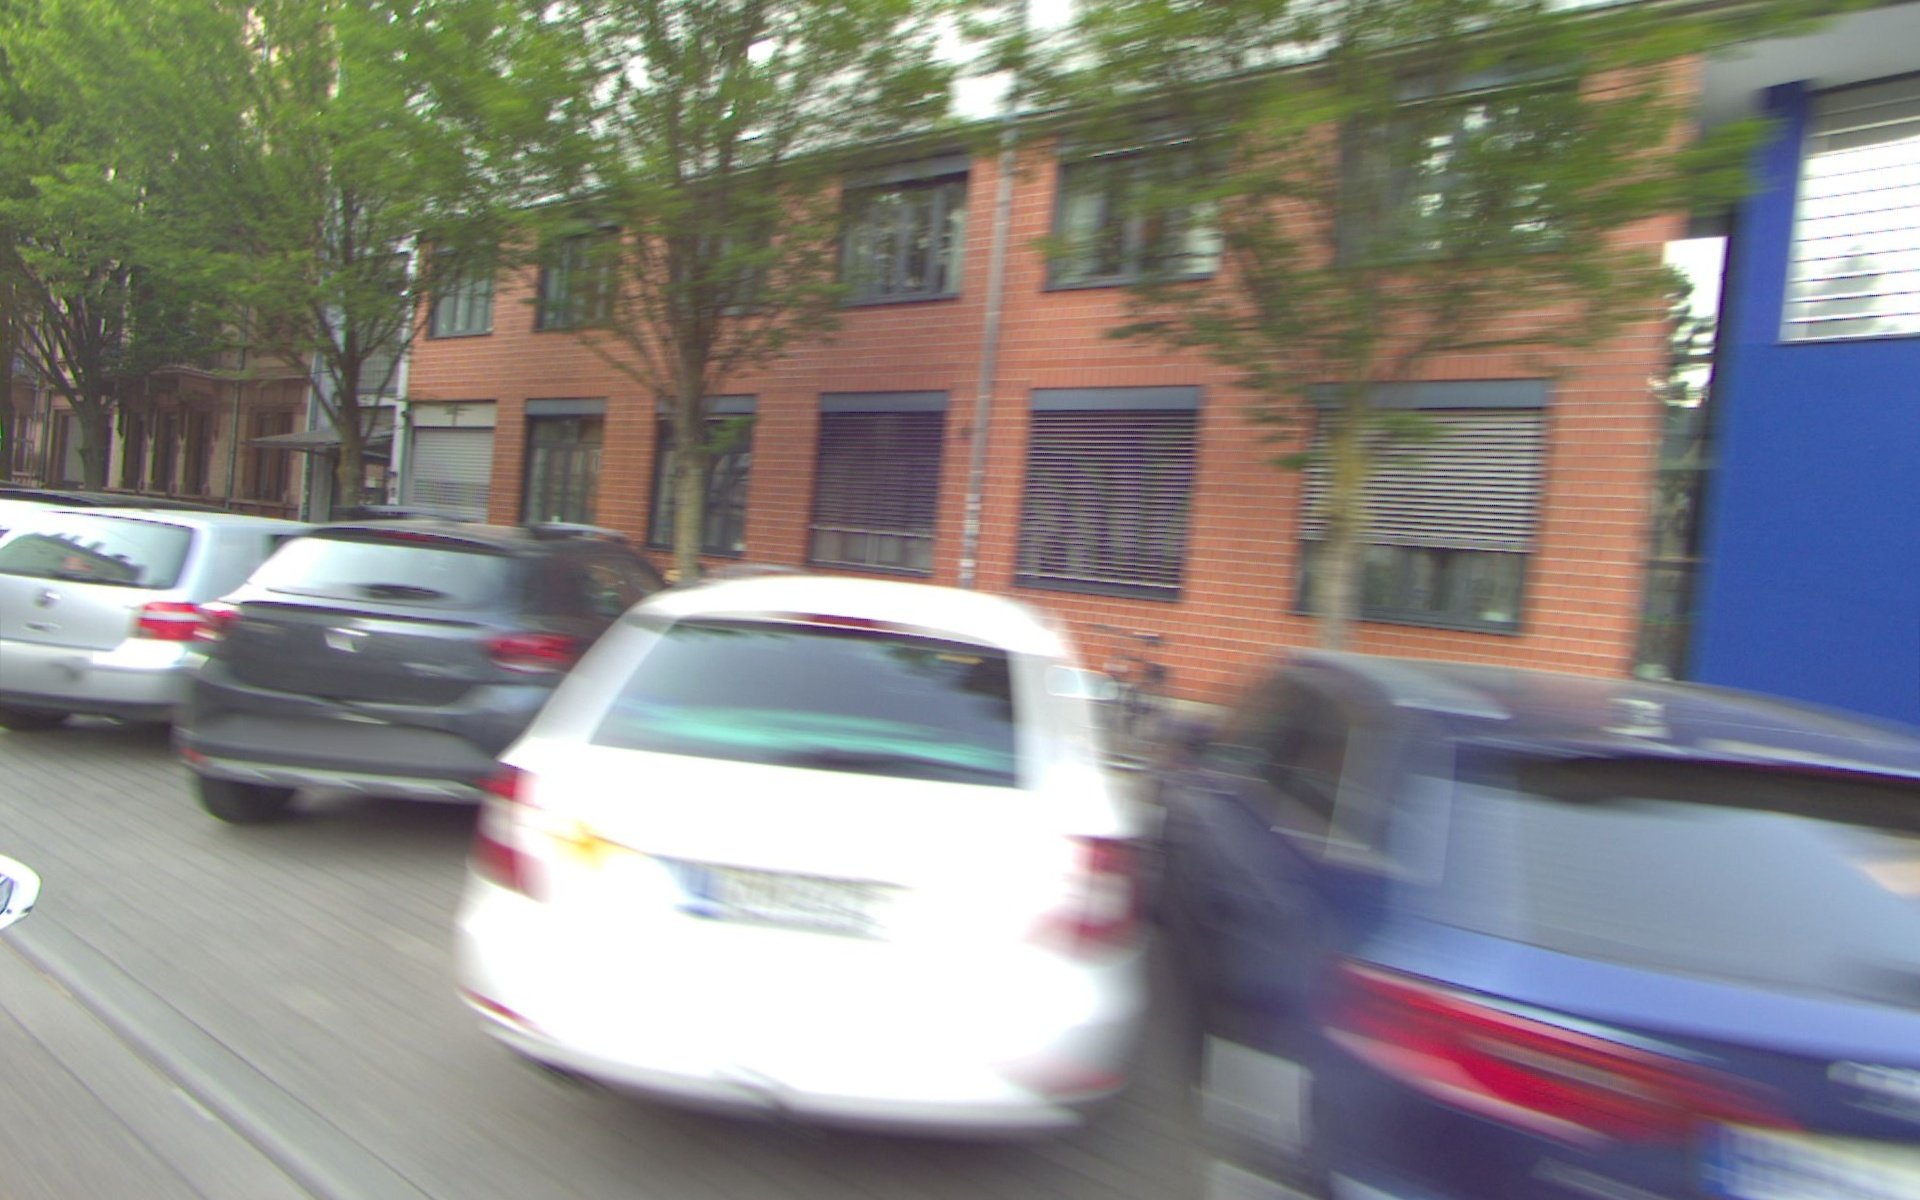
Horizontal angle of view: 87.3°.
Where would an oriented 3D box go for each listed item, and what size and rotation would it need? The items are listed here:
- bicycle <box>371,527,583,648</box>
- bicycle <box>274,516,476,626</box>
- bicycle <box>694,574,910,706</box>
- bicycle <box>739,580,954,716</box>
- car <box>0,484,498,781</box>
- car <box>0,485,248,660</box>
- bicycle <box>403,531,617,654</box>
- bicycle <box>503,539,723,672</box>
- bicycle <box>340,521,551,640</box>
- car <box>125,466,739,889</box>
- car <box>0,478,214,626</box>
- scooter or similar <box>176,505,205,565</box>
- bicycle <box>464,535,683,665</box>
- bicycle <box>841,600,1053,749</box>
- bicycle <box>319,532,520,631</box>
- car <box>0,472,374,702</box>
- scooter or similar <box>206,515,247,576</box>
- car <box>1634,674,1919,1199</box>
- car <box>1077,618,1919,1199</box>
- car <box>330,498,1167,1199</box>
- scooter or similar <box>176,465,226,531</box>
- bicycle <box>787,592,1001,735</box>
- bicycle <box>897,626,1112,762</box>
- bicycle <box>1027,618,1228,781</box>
[{"bbox_3d":[-6.408,-0.118,13.537,0.590,1.397,2.535,7,0,34],"label":"bicycle"},{"bbox_3d":[-8.693,-0.391,15.095,0.590,1.397,2.535,7,0,34],"label":"bicycle"},{"bbox_3d":[-1.549,0.446,10.480,0.553,1.181,2.535,7,0,34],"label":"bicycle"},{"bbox_3d":[-1.050,0.504,10.150,0.553,1.181,2.535,7,0,34],"label":"bicycle"},{"bbox_3d":[-5.128,0.137,7.166,1.690,1.501,3.606,6,0,4],"label":"car"},{"bbox_3d":[-9.463,-0.338,9.926,1.774,1.554,4.384,6,0,-3],"label":"car"},{"bbox_3d":[-5.807,-0.046,13.181,0.590,1.397,2.535,7,0,34],"label":"bicycle"},{"bbox_3d":[-4.052,0.125,12.017,0.590,1.397,2.535,7,0,34],"label":"bicycle"},{"bbox_3d":[-7.012,-0.220,13.880,0.590,1.397,2.535,7,0,34],"label":"bicycle"},{"bbox_3d":[-2.601,0.328,6.004,1.684,1.600,3.604,6,0,-1],"label":"car"},{"bbox_3d":[-11.451,-0.619,11.889,1.725,1.658,3.999,6,1,12],"label":"car"},{"bbox_3d":[-16.789,-1.419,21.965,0.366,1.234,1.688,2,3,-34],"label":"scooter or similar"},{"bbox_3d":[-4.659,0.060,12.366,0.590,1.397,2.535,7,0,34],"label":"bicycle"},{"bbox_3d":[-0.030,0.690,9.475,0.553,1.181,2.535,7,0,34],"label":"bicycle"},{"bbox_3d":[-7.601,-0.279,14.299,0.590,1.263,2.530,7,5,34],"label":"bicycle"},{"bbox_3d":[-7.040,-0.148,8.715,1.533,1.554,3.606,6,0,4],"label":"car"},{"bbox_3d":[-15.730,-1.181,21.560,1.751,1.235,0.410,7,6,43],"label":"scooter or similar"},{"bbox_3d":[3.787,1.128,2.148,1.841,1.492,3.998,5,0,-1],"label":"car"},{"bbox_3d":[1.472,0.929,3.307,1.677,1.542,3.999,5,0,1],"label":"car"},{"bbox_3d":[-0.415,0.660,4.097,1.605,1.556,3.999,7,0,1],"label":"car"},{"bbox_3d":[-15.084,-2.022,19.980,1.752,1.236,0.465,6,8,43],"label":"scooter or similar"},{"bbox_3d":[-0.550,0.623,9.813,0.553,1.181,2.535,7,0,34],"label":"bicycle"},{"bbox_3d":[0.493,0.772,9.135,0.669,0.972,2.532,7,3,34],"label":"bicycle"},{"bbox_3d":[1.483,0.742,8.462,0.669,1.114,2.344,7,3,34],"label":"bicycle"}]
